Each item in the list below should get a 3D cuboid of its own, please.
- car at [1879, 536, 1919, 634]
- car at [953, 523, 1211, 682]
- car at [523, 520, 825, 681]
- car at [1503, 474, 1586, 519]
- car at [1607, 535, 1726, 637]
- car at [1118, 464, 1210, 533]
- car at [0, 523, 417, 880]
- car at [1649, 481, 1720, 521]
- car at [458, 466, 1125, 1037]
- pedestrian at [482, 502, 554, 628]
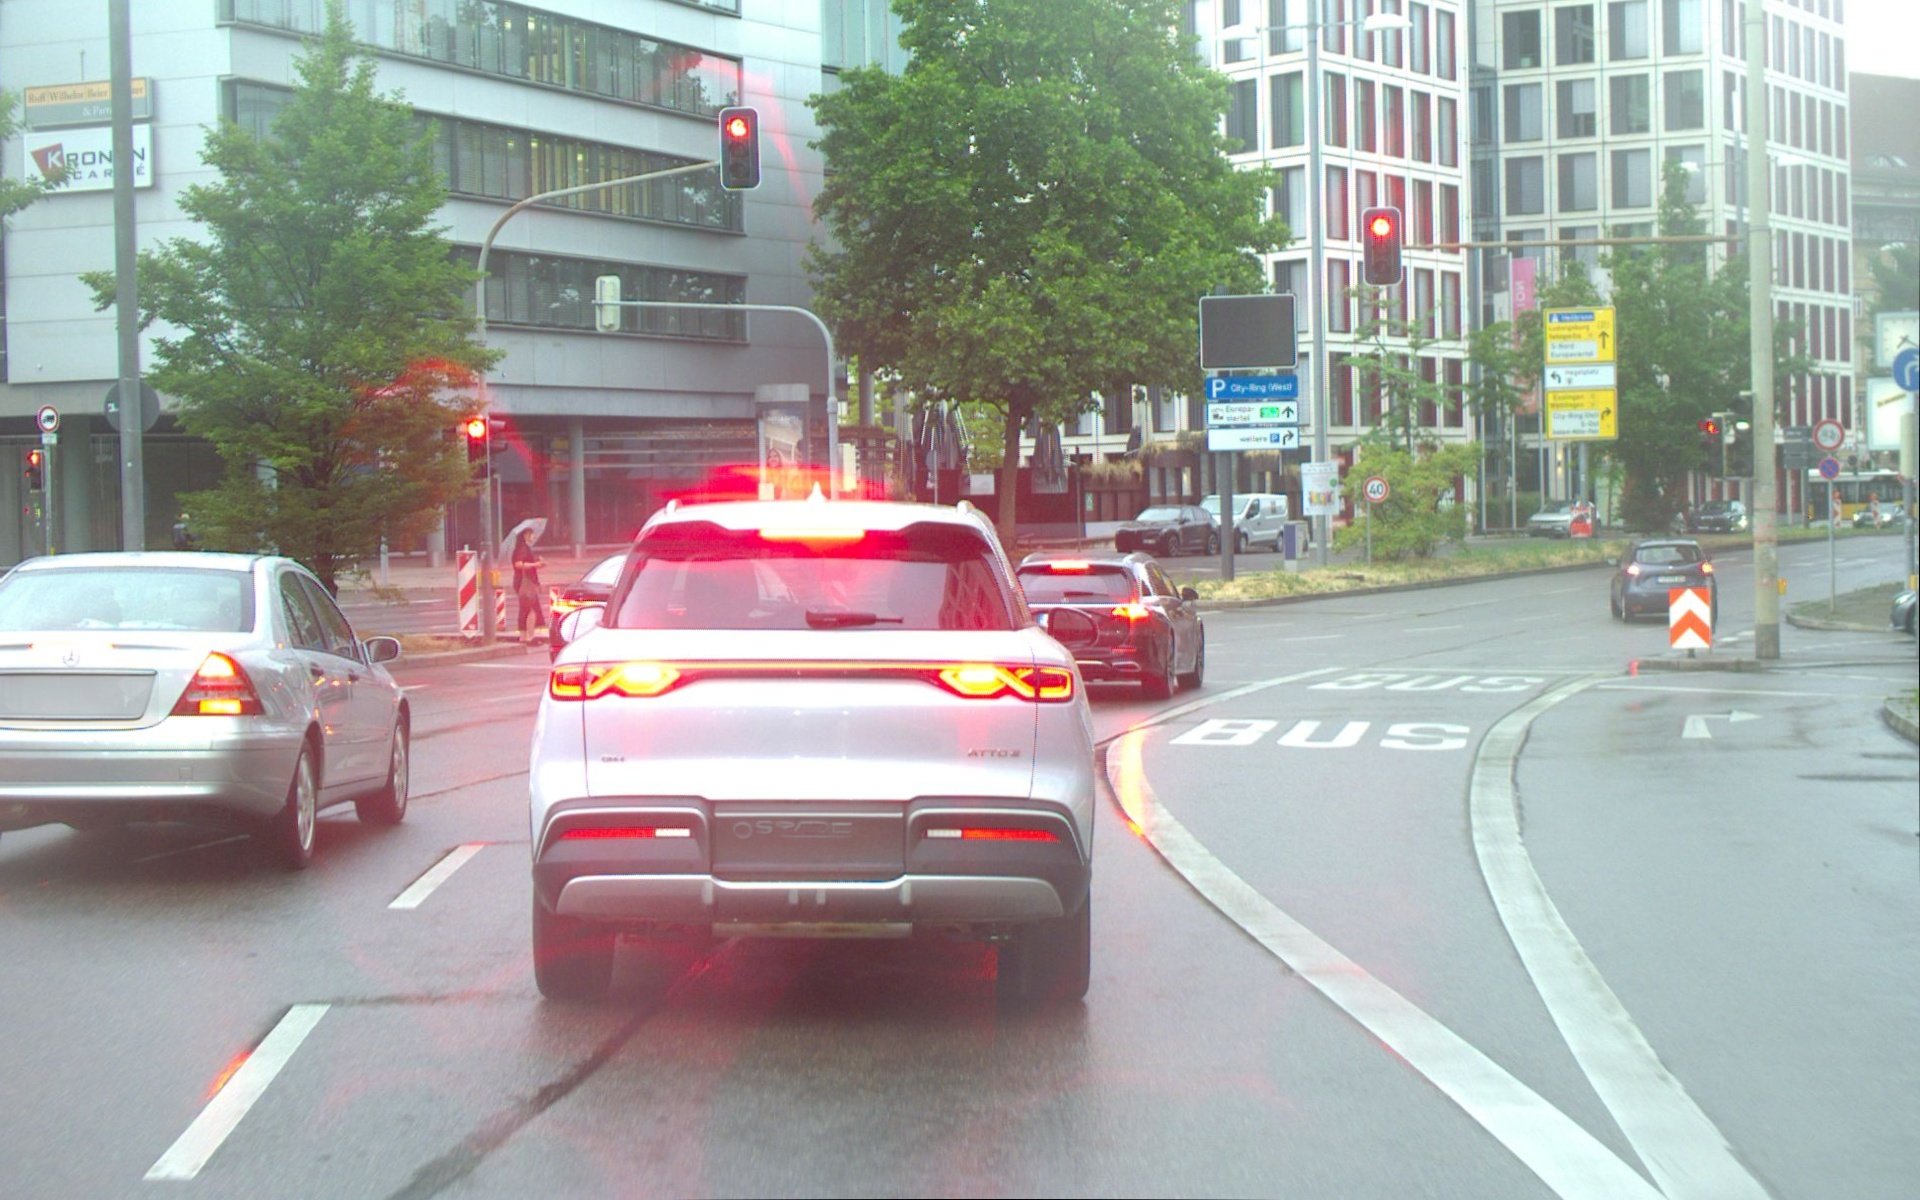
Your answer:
[{"bbox_3d":[16.737,-0.204,53.592,4.348,1.505,1.914,2,2,25],"label":"car"},{"bbox_3d":[1.322,-0.024,35.447,1.956,1.525,3.998,0,1,13],"label":"car"},{"bbox_3d":[-2.822,-0.046,34.835,1.956,1.525,3.998,0,1,13],"label":"car"},{"bbox_3d":[23.563,-4.183,138.381,1.997,1.700,4.302,1,3,29],"label":"car"},{"bbox_3d":[13.203,-0.294,64.464,2.048,1.759,4.355,1,2,10],"label":"car"},{"bbox_3d":[6.539,-3.224,109.833,1.739,2.154,4.489,1,1,20],"label":"car"},{"bbox_3d":[-3.785,0.381,16.531,1.682,1.481,4.197,0,1,0],"label":"car"},{"bbox_3d":[33.071,-4.523,156.842,1.997,1.700,4.302,1,3,29],"label":"car"},{"bbox_3d":[-0.579,0.399,12.569,1.993,1.703,4.483,0,1,-2],"label":"car"},{"bbox_3d":[-6.103,-0.488,47.494,0.922,1.732,0.730,0,1,-3],"label":"pedestrian"}]
